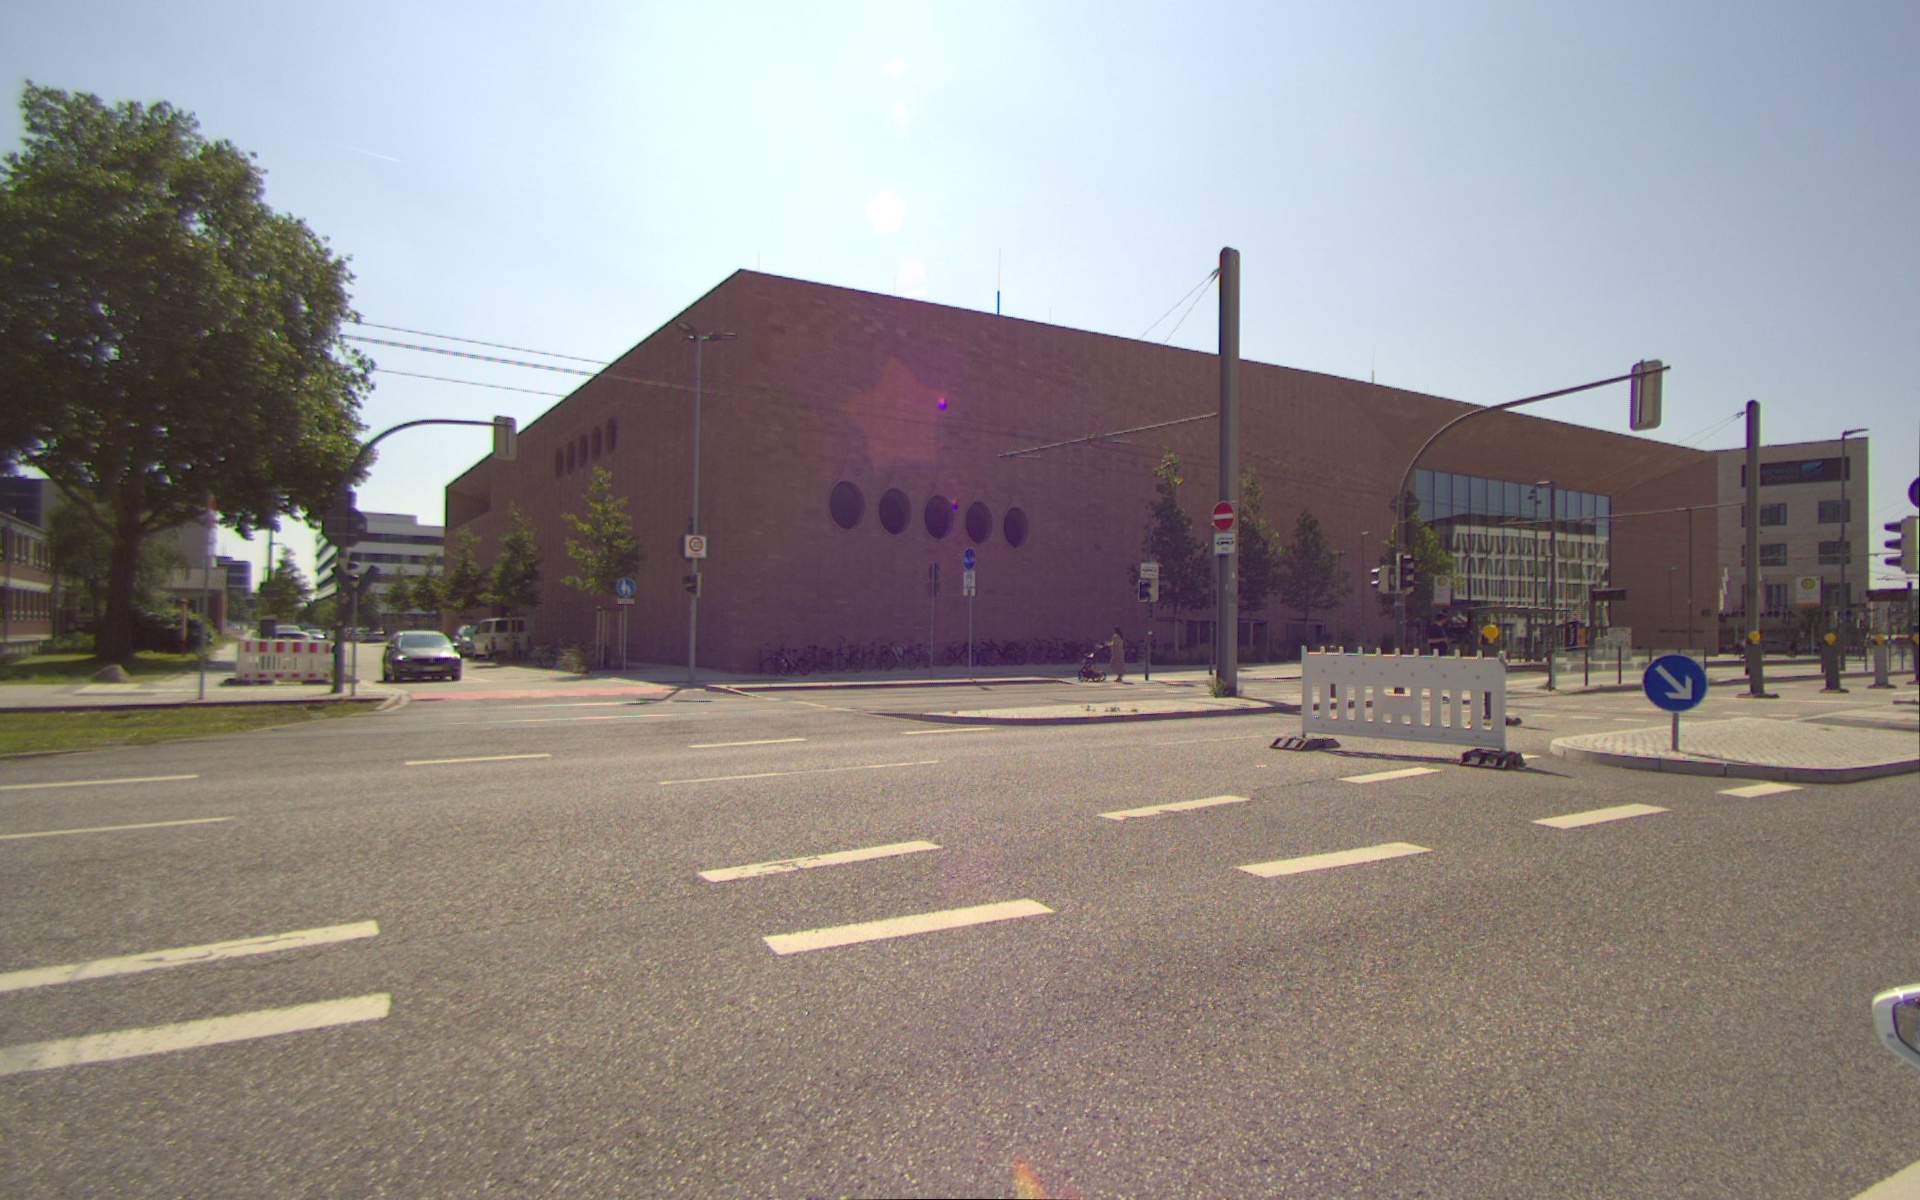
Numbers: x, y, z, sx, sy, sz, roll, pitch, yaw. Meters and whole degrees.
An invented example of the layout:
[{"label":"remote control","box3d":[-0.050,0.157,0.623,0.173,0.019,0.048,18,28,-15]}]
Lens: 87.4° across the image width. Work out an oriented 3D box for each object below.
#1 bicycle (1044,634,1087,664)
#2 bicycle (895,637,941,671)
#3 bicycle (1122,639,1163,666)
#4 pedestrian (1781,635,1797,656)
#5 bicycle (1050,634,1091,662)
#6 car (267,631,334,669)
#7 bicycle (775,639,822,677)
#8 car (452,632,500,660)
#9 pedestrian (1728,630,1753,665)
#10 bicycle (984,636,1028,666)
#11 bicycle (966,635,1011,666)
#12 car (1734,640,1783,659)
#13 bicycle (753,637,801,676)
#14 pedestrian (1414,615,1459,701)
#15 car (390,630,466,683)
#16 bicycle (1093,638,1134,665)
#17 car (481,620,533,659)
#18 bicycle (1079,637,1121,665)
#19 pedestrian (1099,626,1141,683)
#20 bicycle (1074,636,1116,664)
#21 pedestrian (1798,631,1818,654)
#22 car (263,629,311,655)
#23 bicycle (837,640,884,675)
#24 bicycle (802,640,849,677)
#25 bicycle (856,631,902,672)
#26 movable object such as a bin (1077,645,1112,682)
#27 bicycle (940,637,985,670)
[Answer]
[{"label":"bicycle","box3d":[4.674,2.164,44.496,0.536,1.228,2.030,1,-1,-45]},{"label":"bicycle","box3d":[-1.652,2.081,39.142,0.536,1.228,2.030,1,-1,-45]},{"label":"bicycle","box3d":[8.858,2.551,48.840,0.536,1.228,2.030,1,-1,-45]},{"label":"pedestrian","box3d":[62.177,3.426,75.361,0.882,1.592,0.706,2,-2,-36]},{"label":"bicycle","box3d":[5.041,2.174,45.809,0.741,1.228,1.867,2,-1,-41]},{"label":"car","box3d":[-27.360,2.051,41.769,1.976,1.421,3.969,3,-2,-29]},{"label":"bicycle","box3d":[-5.604,1.978,34.756,0.536,1.228,2.030,1,-1,-45]},{"label":"car","box3d":[-25.701,2.434,53.264,1.696,1.339,3.473,3,-2,-36]},{"label":"pedestrian","box3d":[42.386,2.582,54.551,0.817,1.844,0.806,2,0,-34]},{"label":"bicycle","box3d":[1.957,2.165,42.910,0.536,1.228,2.030,1,-1,-45]},{"label":"bicycle","box3d":[1.174,2.084,41.767,0.536,1.228,2.030,1,-1,-45]},{"label":"car","box3d":[83.549,5.200,105.095,3.899,1.840,1.788,0,-2,44]},{"label":"bicycle","box3d":[-6.247,1.909,34.282,0.536,1.228,2.030,2,-1,-45]},{"label":"pedestrian","box3d":[10.558,1.278,22.260,0.653,1.858,0.649,1,0,-30]},{"label":"car","box3d":[-15.923,1.644,29.991,1.558,1.388,3.455,1,-1,-35]},{"label":"bicycle","box3d":[7.419,2.474,48.634,0.536,1.228,2.030,1,-1,-45]},{"label":"car","box3d":[-21.803,1.878,48.268,1.676,1.712,3.521,1,-1,-34]},{"label":"bicycle","box3d":[6.643,2.421,47.741,0.536,1.228,2.030,1,-1,-45]},{"label":"pedestrian","box3d":[4.614,1.558,28.930,0.917,1.583,0.791,0,-1,35]},{"label":"bicycle","box3d":[6.287,2.332,46.779,0.536,1.228,2.030,1,-1,-45]},{"label":"pedestrian","box3d":[69.191,3.462,81.962,0.967,1.915,0.888,1,-1,-15]},{"label":"car","box3d":[-39.728,2.471,59.393,1.976,1.421,3.969,3,-2,-29]},{"label":"bicycle","box3d":[-3.678,2.106,36.996,2.029,1.228,0.536,0,-1,44]},{"label":"bicycle","box3d":[-4.781,2.045,35.570,0.536,1.228,2.030,1,-1,-45]},{"label":"bicycle","box3d":[-3.040,1.920,37.605,0.536,1.472,2.030,1,-1,-45]},{"label":"movable object such as a bin","box3d":[3.939,1.852,29.413,0.703,1.045,0.791,0,-1,35]},{"label":"bicycle","box3d":[0.087,2.159,40.866,0.536,1.228,2.030,2,-1,-45]}]
